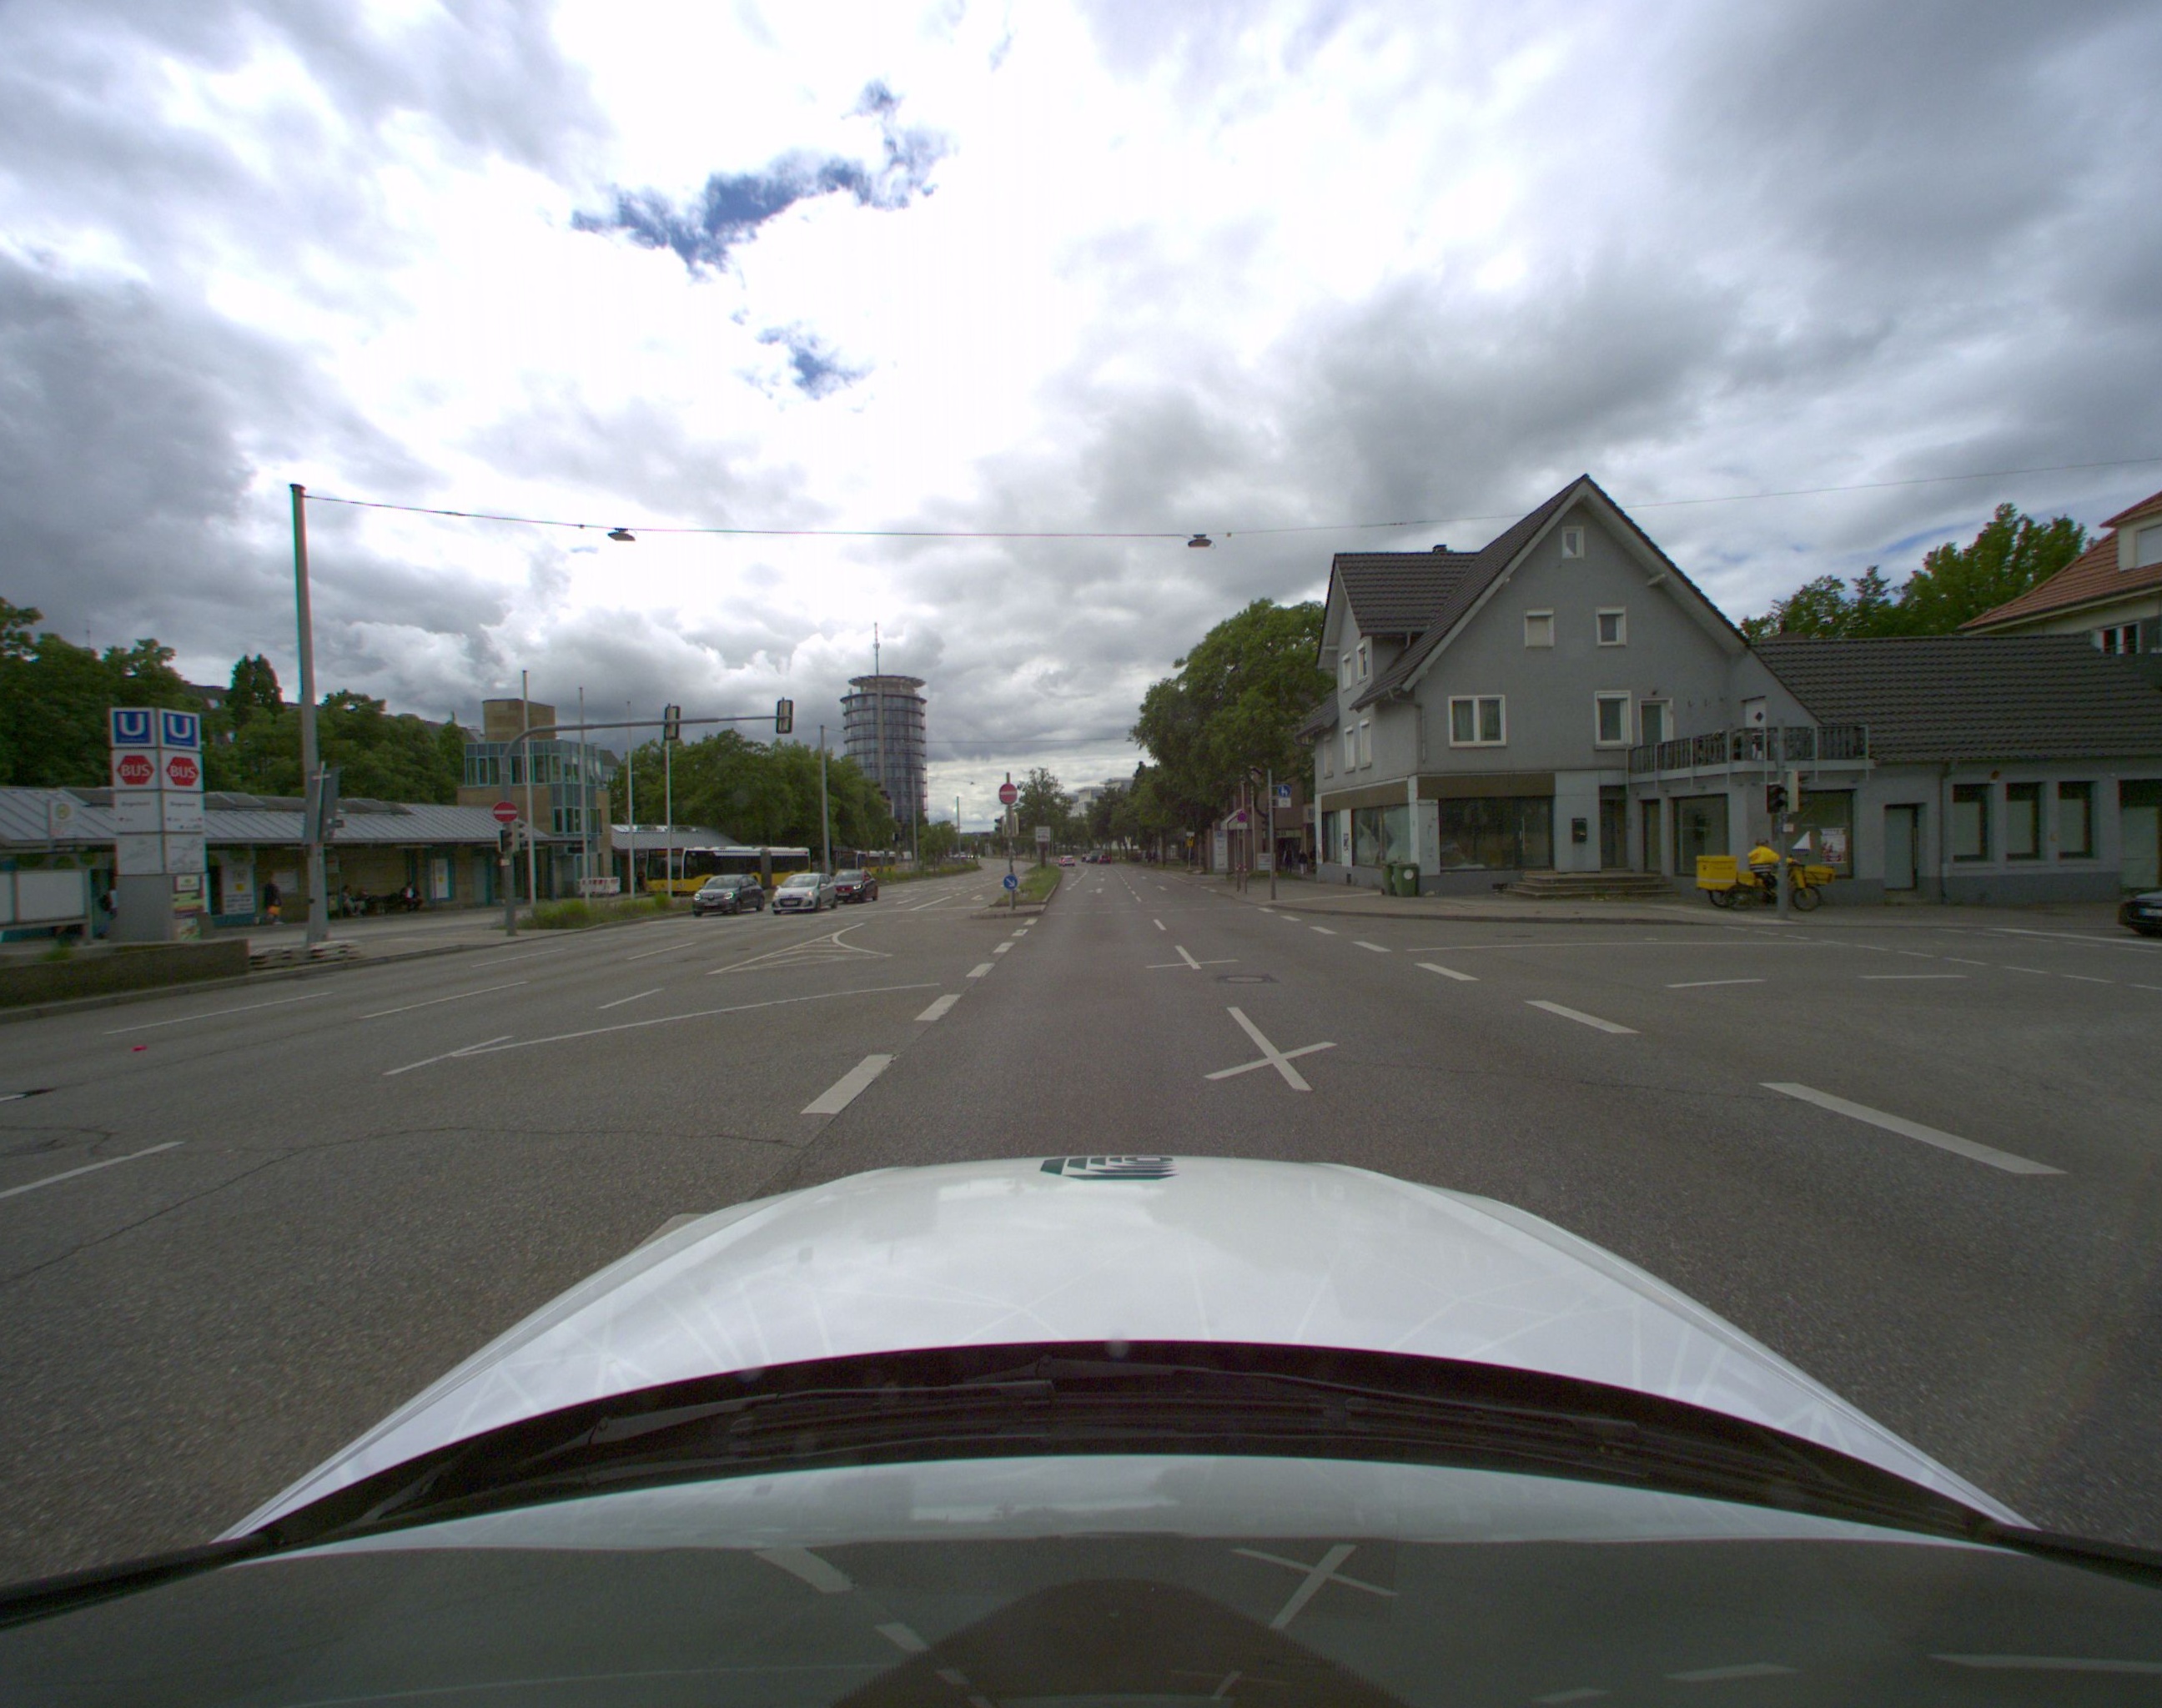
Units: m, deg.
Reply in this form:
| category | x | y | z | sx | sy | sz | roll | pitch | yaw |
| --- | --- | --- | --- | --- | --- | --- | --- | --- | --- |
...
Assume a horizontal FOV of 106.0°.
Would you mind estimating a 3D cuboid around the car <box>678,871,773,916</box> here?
| category | x | y | z | sx | sy | sz | roll | pitch | yaw |
| --- | --- | --- | --- | --- | --- | --- | --- | --- | --- |
| car | -13.893 | 1.499 | 32.069 | 1.808 | 1.508 | 4.002 | -2 | 0 | 2 |

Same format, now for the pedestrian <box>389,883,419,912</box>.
| category | x | y | z | sx | sy | sz | roll | pitch | yaw |
| --- | --- | --- | --- | --- | --- | --- | --- | --- | --- |
| pedestrian | -27.858 | 1.778 | 33.523 | 0.617 | 1.121 | 0.658 | -2 | -1 | 2 |

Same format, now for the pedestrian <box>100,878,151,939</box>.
| category | x | y | z | sx | sy | sz | roll | pitch | yaw |
| --- | --- | --- | --- | --- | --- | --- | --- | --- | --- |
| pedestrian | -26.985 | 1.531 | 22.999 | 0.617 | 1.649 | 0.658 | -2 | -1 | 2 |

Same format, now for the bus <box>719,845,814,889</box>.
| category | x | y | z | sx | sy | sz | roll | pitch | yaw |
| --- | --- | --- | --- | --- | --- | --- | --- | --- | --- |
| bus | -23.705 | 0.906 | 62.091 | 2.795 | 3.132 | 9.315 | 0 | 0 | 6 |

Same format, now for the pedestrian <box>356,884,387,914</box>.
| category | x | y | z | sx | sy | sz | roll | pitch | yaw |
| --- | --- | --- | --- | --- | --- | --- | --- | --- | --- |
| pedestrian | -28.061 | 1.787 | 32.204 | 0.617 | 1.121 | 0.658 | -2 | -1 | 2 |

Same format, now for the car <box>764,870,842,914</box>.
| category | x | y | z | sx | sy | sz | roll | pitch | yaw |
| --- | --- | --- | --- | --- | --- | --- | --- | --- | --- |
| car | -10.714 | 1.425 | 31.664 | 1.740 | 1.465 | 3.788 | -2 | 1 | -2 |

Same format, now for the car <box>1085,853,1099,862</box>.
| category | x | y | z | sx | sy | sz | roll | pitch | yaw |
| --- | --- | --- | --- | --- | --- | --- | --- | --- | --- |
| car | 1.971 | 0.669 | 145.241 | 1.991 | 1.508 | 3.991 | -2 | 0 | -6 |

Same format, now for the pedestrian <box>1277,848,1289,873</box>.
| category | x | y | z | sx | sy | sz | roll | pitch | yaw |
| --- | --- | --- | --- | --- | --- | --- | --- | --- | --- |
| pedestrian | 12.890 | 0.427 | 52.072 | 0.559 | 1.550 | 0.544 | -4 | 0 | 1 |

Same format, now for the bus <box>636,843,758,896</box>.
| category | x | y | z | sx | sy | sz | roll | pitch | yaw |
| --- | --- | --- | --- | --- | --- | --- | --- | --- | --- |
| bus | -24.569 | 0.910 | 52.834 | 2.763 | 3.132 | 9.450 | 0 | 0 | 5 |

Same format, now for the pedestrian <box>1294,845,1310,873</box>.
| category | x | y | z | sx | sy | sz | roll | pitch | yaw |
| --- | --- | --- | --- | --- | --- | --- | --- | --- | --- |
| pedestrian | 13.627 | 0.285 | 50.269 | 0.655 | 1.691 | 0.843 | -4 | 0 | 1 |

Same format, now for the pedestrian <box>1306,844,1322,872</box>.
| category | x | y | z | sx | sy | sz | roll | pitch | yaw |
| --- | --- | --- | --- | --- | --- | --- | --- | --- | --- |
| pedestrian | 14.387 | 0.224 | 50.239 | 0.655 | 1.691 | 0.843 | -4 | 0 | 1 |

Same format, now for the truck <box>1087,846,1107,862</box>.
| category | x | y | z | sx | sy | sz | roll | pitch | yaw |
| --- | --- | --- | --- | --- | --- | --- | --- | --- | --- |
| truck | 2.669 | -0.005 | 137.863 | 2.853 | 2.519 | 6.280 | -2 | 0 | -3 |

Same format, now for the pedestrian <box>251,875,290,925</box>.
| category | x | y | z | sx | sy | sz | roll | pitch | yaw |
| --- | --- | --- | --- | --- | --- | --- | --- | --- | --- |
| pedestrian | -27.598 | 1.572 | 27.738 | 0.617 | 1.649 | 0.658 | -2 | -1 | 2 |

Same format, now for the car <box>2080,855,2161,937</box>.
| category | x | y | z | sx | sy | sz | roll | pitch | yaw |
| --- | --- | --- | --- | --- | --- | --- | --- | --- | --- |
| car | 21.082 | 0.724 | 14.484 | 4.328 | 1.422 | 1.908 | 0 | 0 | 0 |

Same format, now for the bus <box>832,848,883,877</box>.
| category | x | y | z | sx | sy | sz | roll | pitch | yaw |
| --- | --- | --- | --- | --- | --- | --- | --- | --- | --- |
| bus | -26.014 | 0.973 | 95.336 | 3.074 | 3.162 | 10.733 | -1 | 0 | -1 |

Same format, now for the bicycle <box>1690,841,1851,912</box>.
| category | x | y | z | sx | sy | sz | roll | pitch | yaw |
| --- | --- | --- | --- | --- | --- | --- | --- | --- | --- |
| bicycle | 15.815 | 0.493 | 18.779 | 2.658 | 1.508 | 0.967 | 0 | 3 | 12 |

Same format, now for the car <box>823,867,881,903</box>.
| category | x | y | z | sx | sy | sz | roll | pitch | yaw |
| --- | --- | --- | --- | --- | --- | --- | --- | --- | --- |
| car | -10.490 | 1.381 | 37.557 | 1.654 | 1.508 | 3.765 | -2 | 0 | -2 |

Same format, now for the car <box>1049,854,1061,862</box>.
| category | x | y | z | sx | sy | sz | roll | pitch | yaw |
| --- | --- | --- | --- | --- | --- | --- | --- | --- | --- |
| car | -4.819 | 0.744 | 153.686 | 1.986 | 1.508 | 4.002 | -1 | 0 | 2 |

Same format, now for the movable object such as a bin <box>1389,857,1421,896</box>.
| category | x | y | z | sx | sy | sz | roll | pitch | yaw |
| --- | --- | --- | --- | --- | --- | --- | --- | --- | --- |
| movable object such as a bin | 9.551 | 0.649 | 24.007 | 0.624 | 1.104 | 0.710 | -1 | 0 | 0 |

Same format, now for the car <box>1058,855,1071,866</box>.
| category | x | y | z | sx | sy | sz | roll | pitch | yaw |
| --- | --- | --- | --- | --- | --- | --- | --- | --- | --- |
| car | -2.623 | 1.001 | 127.859 | 1.989 | 1.672 | 3.996 | -2 | 0 | -3 |

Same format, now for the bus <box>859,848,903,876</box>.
| category | x | y | z | sx | sy | sz | roll | pitch | yaw |
| --- | --- | --- | --- | --- | --- | --- | --- | --- | --- |
| bus | -25.881 | 0.985 | 105.700 | 3.020 | 3.455 | 9.913 | -1 | 0 | 1 |

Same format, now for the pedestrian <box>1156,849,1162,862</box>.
| category | x | y | z | sx | sy | sz | roll | pitch | yaw |
| --- | --- | --- | --- | --- | --- | --- | --- | --- | --- |
| pedestrian | 10.578 | 0.169 | 110.437 | 0.565 | 1.700 | 0.829 | -2 | -1 | 1 |

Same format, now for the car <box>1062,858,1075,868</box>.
| category | x | y | z | sx | sy | sz | roll | pitch | yaw |
| --- | --- | --- | --- | --- | --- | --- | --- | --- | --- |
| car | -1.882 | 1.316 | 122.123 | 1.859 | 1.449 | 3.995 | -2 | 0 | -3 |

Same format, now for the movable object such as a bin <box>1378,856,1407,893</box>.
| category | x | y | z | sx | sy | sz | roll | pitch | yaw |
| --- | --- | --- | --- | --- | --- | --- | --- | --- | --- |
| movable object such as a bin | 9.485 | 0.620 | 24.801 | 0.606 | 1.104 | 0.710 | -1 | 0 | 0 |

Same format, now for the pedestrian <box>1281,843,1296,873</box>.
| category | x | y | z | sx | sy | sz | roll | pitch | yaw |
| --- | --- | --- | --- | --- | --- | --- | --- | --- | --- |
| pedestrian | 12.814 | 0.234 | 50.339 | 0.655 | 1.826 | 0.843 | -4 | 0 | 1 |

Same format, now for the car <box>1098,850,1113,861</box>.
| category | x | y | z | sx | sy | sz | roll | pitch | yaw |
| --- | --- | --- | --- | --- | --- | --- | --- | --- | --- |
| car | 3.767 | 0.273 | 126.354 | 1.988 | 1.596 | 3.997 | -2 | 0 | -2 |

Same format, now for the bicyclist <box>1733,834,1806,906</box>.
| category | x | y | z | sx | sy | sz | roll | pitch | yaw |
| --- | --- | --- | --- | --- | --- | --- | --- | --- | --- |
| bicyclist | 15.874 | 0.357 | 18.806 | 0.928 | 1.598 | 0.966 | -1 | 1 | 12 |
